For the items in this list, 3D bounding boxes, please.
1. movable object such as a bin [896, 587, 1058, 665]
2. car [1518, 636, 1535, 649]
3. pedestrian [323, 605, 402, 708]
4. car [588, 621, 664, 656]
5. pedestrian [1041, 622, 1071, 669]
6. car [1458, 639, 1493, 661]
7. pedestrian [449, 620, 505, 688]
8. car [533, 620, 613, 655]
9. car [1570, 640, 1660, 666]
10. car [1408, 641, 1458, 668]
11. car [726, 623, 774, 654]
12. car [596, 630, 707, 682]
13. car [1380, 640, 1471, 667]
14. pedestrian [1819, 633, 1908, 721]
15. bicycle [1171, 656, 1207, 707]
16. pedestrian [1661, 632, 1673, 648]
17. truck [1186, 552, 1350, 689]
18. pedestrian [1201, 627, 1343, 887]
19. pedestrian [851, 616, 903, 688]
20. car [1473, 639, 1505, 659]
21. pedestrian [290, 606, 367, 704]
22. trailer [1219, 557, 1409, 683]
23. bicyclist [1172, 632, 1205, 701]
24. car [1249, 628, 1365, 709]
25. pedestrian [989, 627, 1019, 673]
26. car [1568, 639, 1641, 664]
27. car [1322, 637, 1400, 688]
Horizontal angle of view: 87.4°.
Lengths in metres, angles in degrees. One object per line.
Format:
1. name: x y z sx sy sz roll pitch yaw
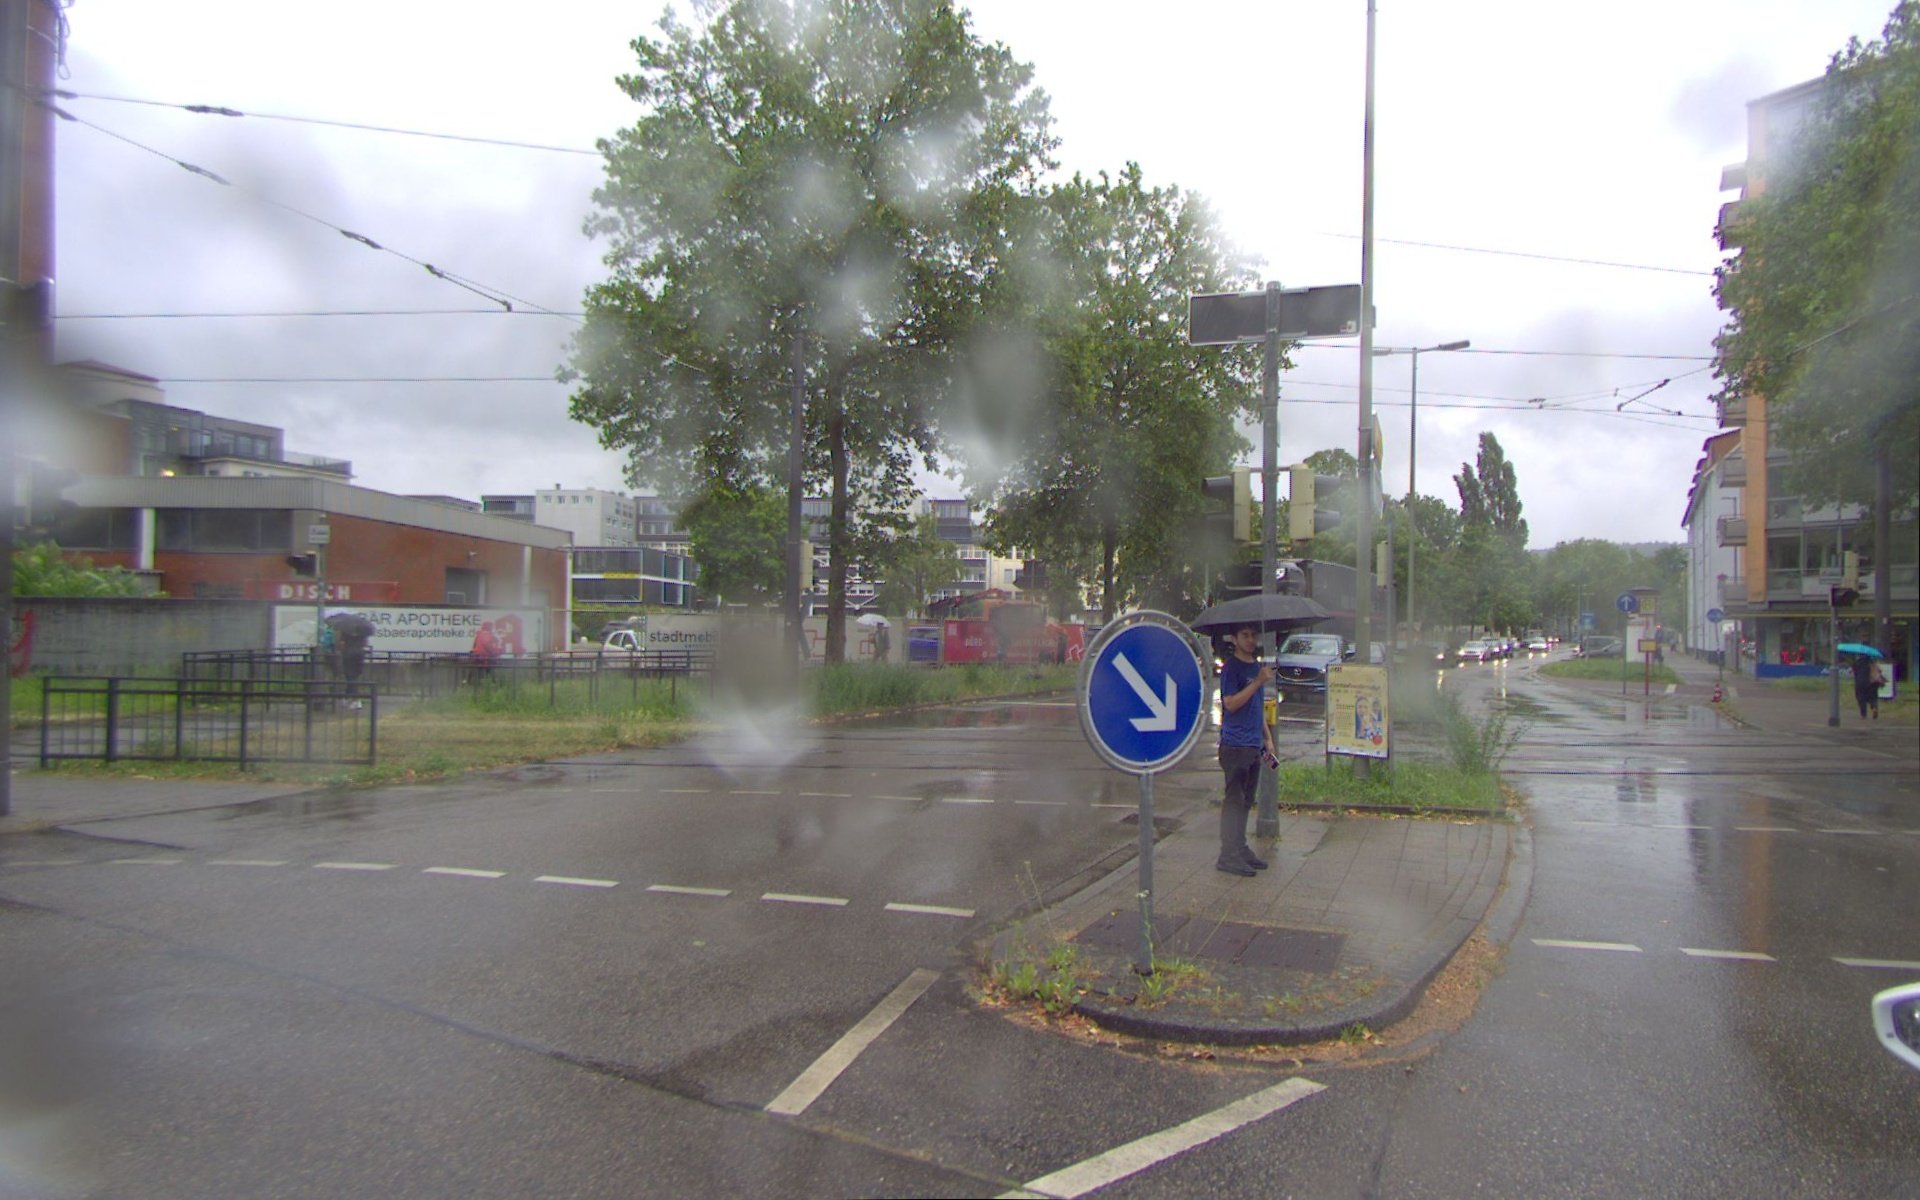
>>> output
1. movable object such as a bin: 0.588 1.032 41.350 2.757 2.969 6.688 2 -1 -45
2. car: 74.726 5.582 132.475 1.748 1.550 3.995 1 0 27
3. pedestrian: -11.160 1.042 18.785 0.936 1.887 0.849 0 -1 7
4. car: -17.820 2.009 53.854 2.126 1.764 4.808 1 -1 4
5. pedestrian: 3.482 1.641 36.455 0.892 1.671 0.752 1 -1 -11
6. car: 36.874 3.559 71.813 1.750 1.422 4.818 1 -2 33
7. pedestrian: -11.025 1.225 22.970 0.812 1.524 0.849 0 -1 7
8. car: -20.876 1.984 54.374 2.126 1.764 4.808 1 -1 4
9. car: 39.571 3.199 60.709 4.473 1.489 1.977 -1 -2 35
10. car: 25.920 2.967 55.010 1.704 1.379 4.322 -1 -2 36
11. car: -12.802 2.317 61.527 1.960 1.760 4.423 1 -1 0
12. car: -9.218 1.621 29.879 1.830 1.338 3.620 2 -1 -41
13. car: 28.022 3.206 60.655 2.056 1.473 4.901 1 -2 -23
14. pedestrian: 20.723 1.728 23.090 1.152 1.890 1.384 1 0 26
15. bicycle: 5.109 1.793 22.373 0.523 1.038 1.874 0 -2 21
16. pedestrian: 84.229 4.756 119.635 1.050 1.835 1.089 0 -1 39
17. truck: 10.617 0.703 34.102 3.403 4.132 6.953 0 -1 34
18. pedestrian: 2.061 0.985 6.660 0.846 1.602 0.643 -1 -1 18
19. pedestrian: -2.377 1.470 28.710 0.897 1.990 1.211 0 -1 35
20. car: 41.003 3.769 77.847 1.755 1.439 4.252 -1 -2 34
21. pedestrian: -12.403 1.067 19.765 0.936 1.887 0.849 0 -1 7
22. trailer: 14.540 0.869 39.872 3.396 4.102 15.005 -1 -2 34
23. bicyclist: 5.087 1.463 22.347 0.570 1.480 1.011 0 -2 21
24. car: 9.098 1.669 26.064 2.043 1.705 4.922 3 1 28
25. pedestrian: 1.476 1.675 33.818 0.764 1.535 0.637 1 -2 -34
26. car: 43.943 3.469 68.595 4.132 1.589 1.884 0 -2 33
27. car: 12.694 1.916 31.676 1.674 1.391 4.091 0 -1 31
